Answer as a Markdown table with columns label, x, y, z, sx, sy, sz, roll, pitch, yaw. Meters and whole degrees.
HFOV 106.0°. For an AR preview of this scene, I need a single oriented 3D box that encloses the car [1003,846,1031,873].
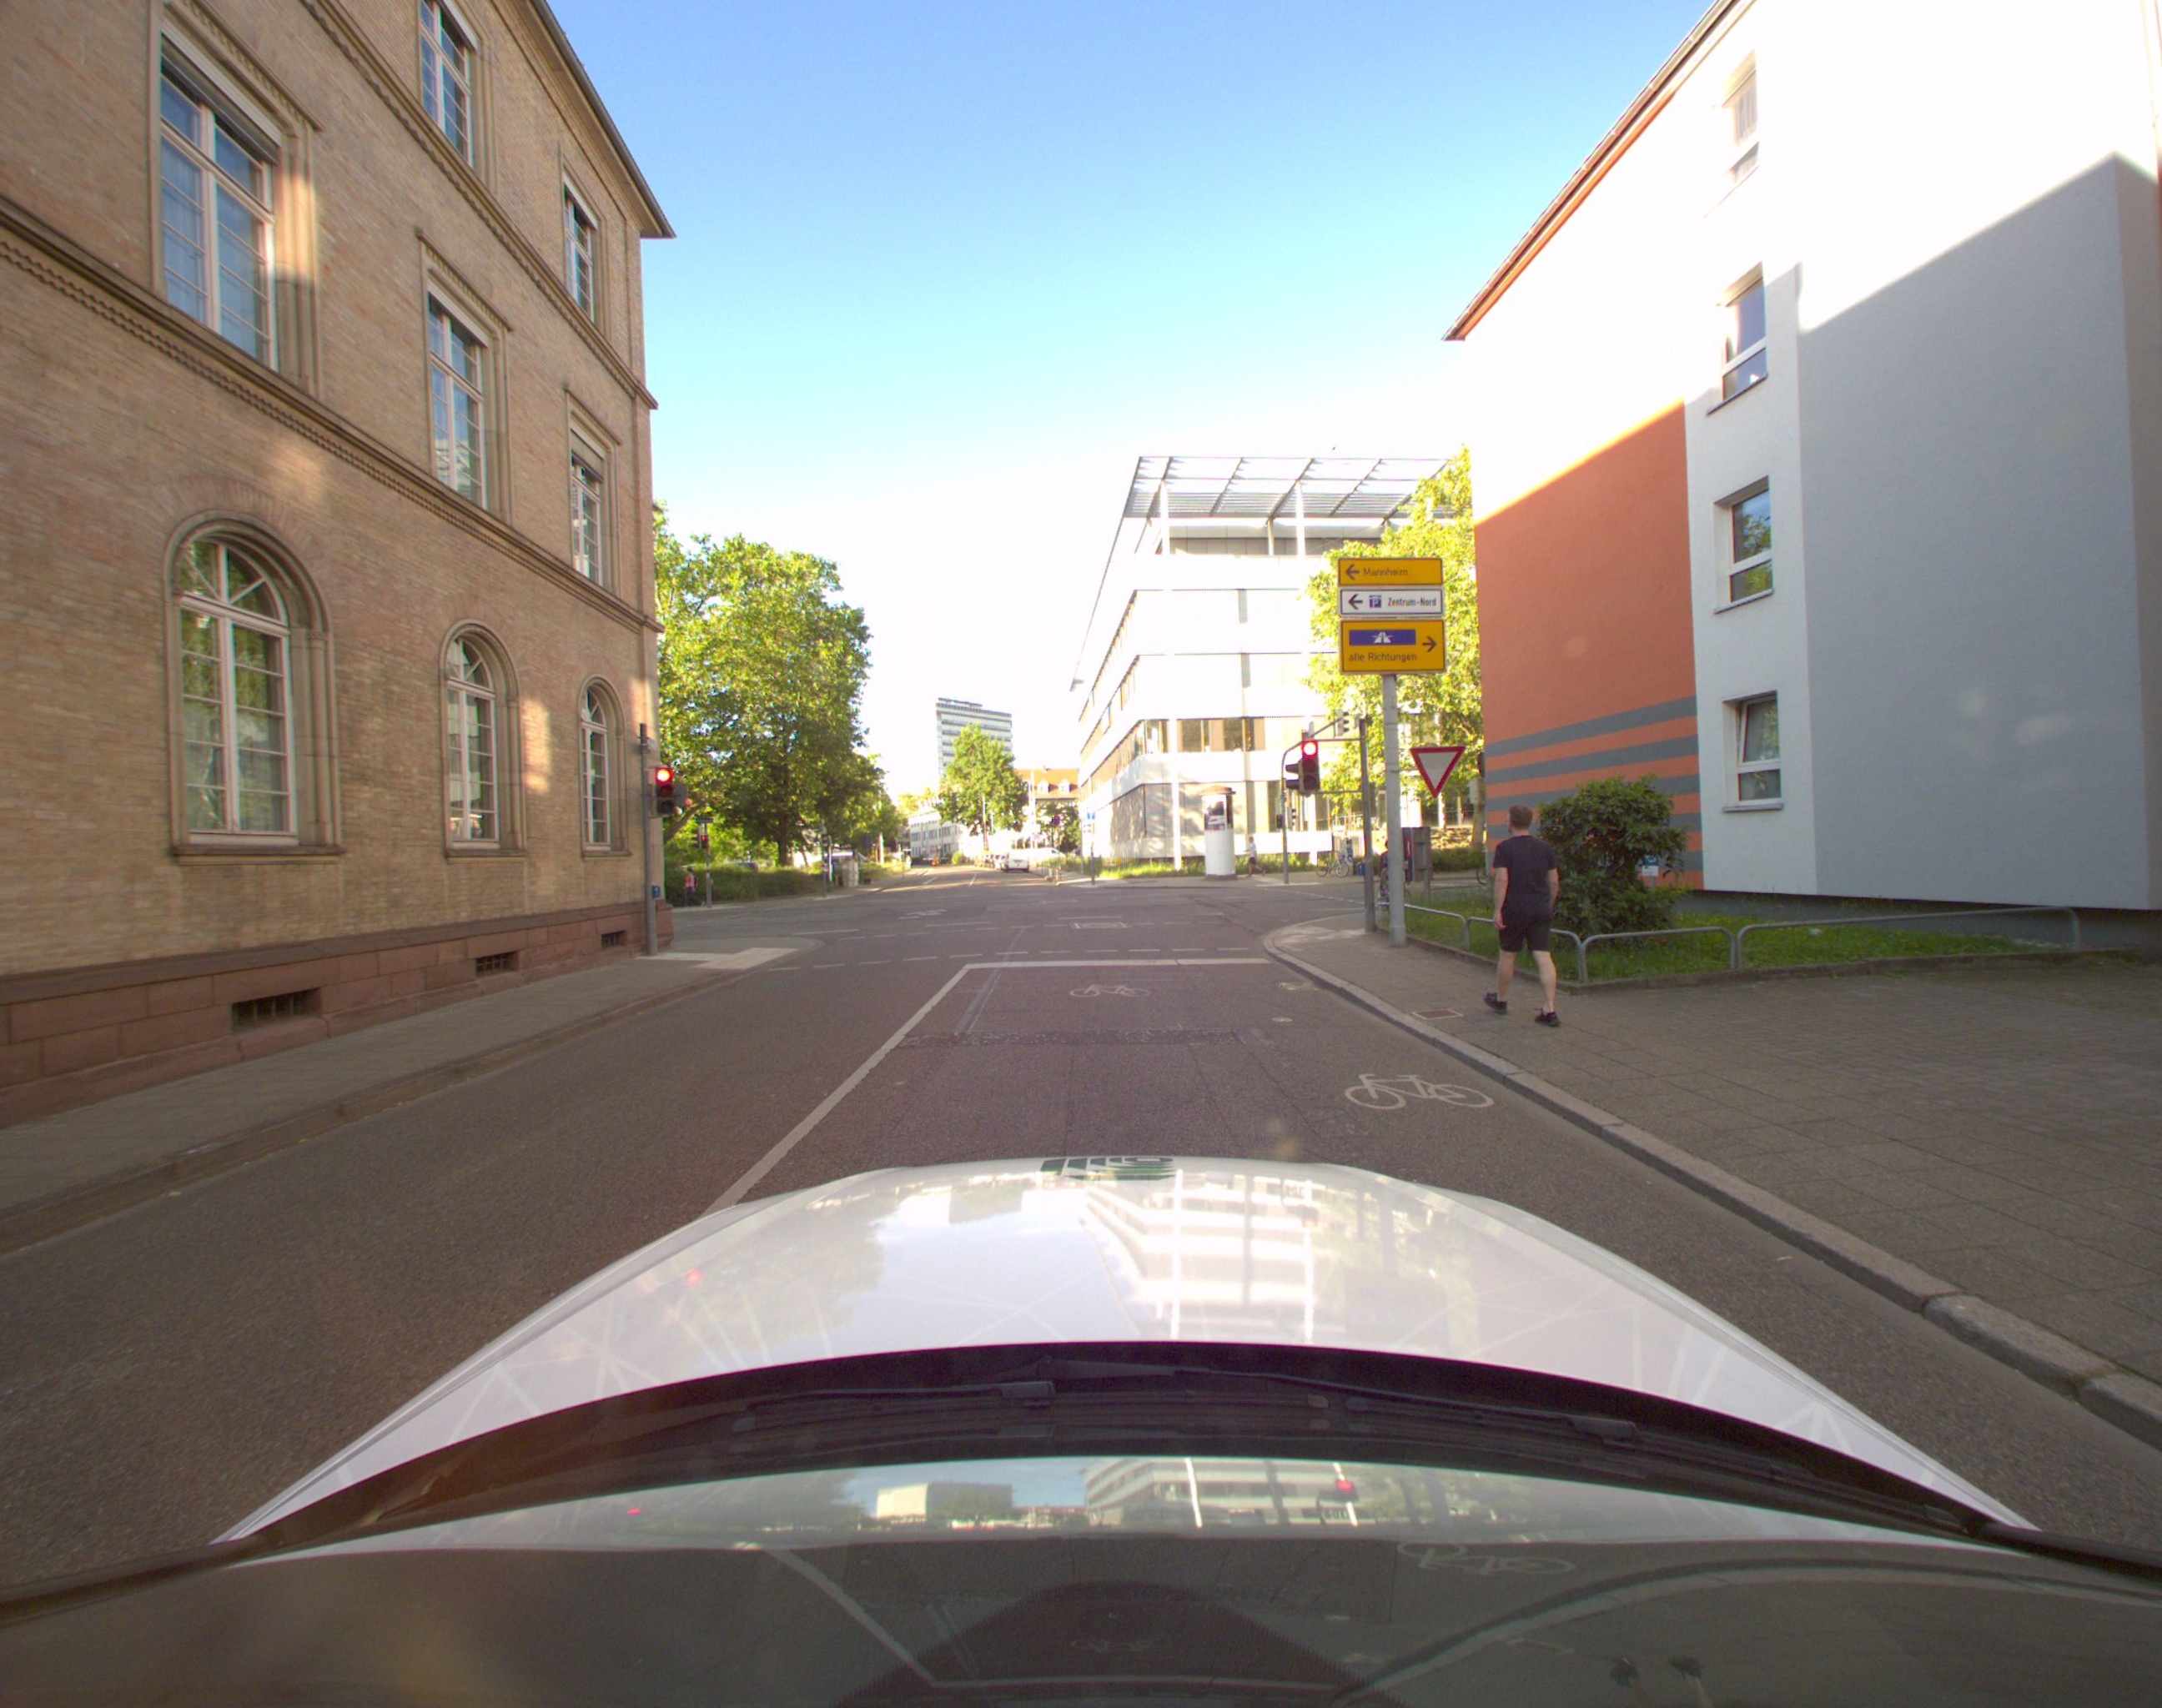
| label | x | y | z | sx | sy | sz | roll | pitch | yaw |
| --- | --- | --- | --- | --- | --- | --- | --- | --- | --- |
| car | -5.120 | 0.425 | 64.924 | 2.065 | 1.963 | 4.228 | -2 | 0 | -6 |

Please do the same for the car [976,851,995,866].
| label | x | y | z | sx | sy | sz | roll | pitch | yaw |
| --- | --- | --- | --- | --- | --- | --- | --- | --- | --- |
| car | -11.296 | 0.514 | 96.114 | 2.100 | 1.658 | 4.461 | -2 | 0 | -9 |

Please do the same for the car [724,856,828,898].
| label | x | y | z | sx | sy | sz | roll | pitch | yaw |
| --- | --- | --- | --- | --- | --- | --- | --- | --- | --- |
| car | -14.395 | 1.072 | 38.628 | 4.219 | 1.777 | 1.901 | -2 | 0 | -7 |

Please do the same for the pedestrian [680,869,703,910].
| label | x | y | z | sx | sy | sz | roll | pitch | yaw |
| --- | --- | --- | --- | --- | --- | --- | --- | --- | --- |
| pedestrian | -15.480 | 1.399 | 32.337 | 0.717 | 1.599 | 0.611 | -2 | 0 | -32 |

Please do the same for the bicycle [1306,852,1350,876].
| label | x | y | z | sx | sy | sz | roll | pitch | yaw |
| --- | --- | --- | --- | --- | --- | --- | --- | --- | --- |
| bicycle | 10.907 | 0.445 | 35.983 | 0.467 | 1.049 | 1.893 | -2 | 0 | -40 |

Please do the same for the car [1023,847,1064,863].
| label | x | y | z | sx | sy | sz | roll | pitch | yaw |
| --- | --- | --- | --- | --- | --- | --- | --- | --- | --- |
| car | -4.762 | 0.107 | 103.087 | 4.889 | 1.872 | 1.990 | -1 | -1 | -15 |

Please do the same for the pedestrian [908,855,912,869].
| label | x | y | z | sx | sy | sz | roll | pitch | yaw |
| --- | --- | --- | --- | --- | --- | --- | --- | --- | --- |
| pedestrian | -19.928 | 0.937 | 94.676 | 0.380 | 1.534 | 0.444 | -2 | 0 | -10 |

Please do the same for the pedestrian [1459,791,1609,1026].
| label | x | y | z | sx | sy | sz | roll | pitch | yaw |
| --- | --- | --- | --- | --- | --- | --- | --- | --- | --- |
| pedestrian | 3.758 | 0.428 | 6.841 | 0.641 | 1.788 | 0.917 | -5 | 0 | 4 |

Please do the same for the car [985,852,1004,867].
| label | x | y | z | sx | sy | sz | roll | pitch | yaw |
| --- | --- | --- | --- | --- | --- | --- | --- | --- | --- |
| car | -9.188 | 0.552 | 86.233 | 1.704 | 1.464 | 4.225 | -2 | 0 | -9 |

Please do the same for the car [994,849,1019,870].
| label | x | y | z | sx | sy | sz | roll | pitch | yaw |
| --- | --- | --- | --- | --- | --- | --- | --- | --- | --- |
| car | -7.088 | 0.497 | 76.898 | 1.947 | 1.795 | 4.223 | -2 | 0 | -11 |

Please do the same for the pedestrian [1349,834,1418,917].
| label | x | y | z | sx | sy | sz | roll | pitch | yaw |
| --- | --- | --- | --- | --- | --- | --- | --- | --- | --- |
| pedestrian | 6.126 | 0.436 | 16.496 | 0.755 | 1.573 | 0.945 | -5 | 0 | -44 |

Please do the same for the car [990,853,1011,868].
| label | x | y | z | sx | sy | sz | roll | pitch | yaw |
| --- | --- | --- | --- | --- | --- | --- | --- | --- | --- |
| car | -8.085 | 0.633 | 81.666 | 1.705 | 1.424 | 4.221 | -2 | 0 | -11 |

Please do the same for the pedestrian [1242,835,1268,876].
| label | x | y | z | sx | sy | sz | roll | pitch | yaw |
| --- | --- | --- | --- | --- | --- | --- | --- | --- | --- |
| pedestrian | 8.080 | 0.063 | 37.906 | 1.034 | 1.831 | 0.539 | -2 | 0 | 1 |
